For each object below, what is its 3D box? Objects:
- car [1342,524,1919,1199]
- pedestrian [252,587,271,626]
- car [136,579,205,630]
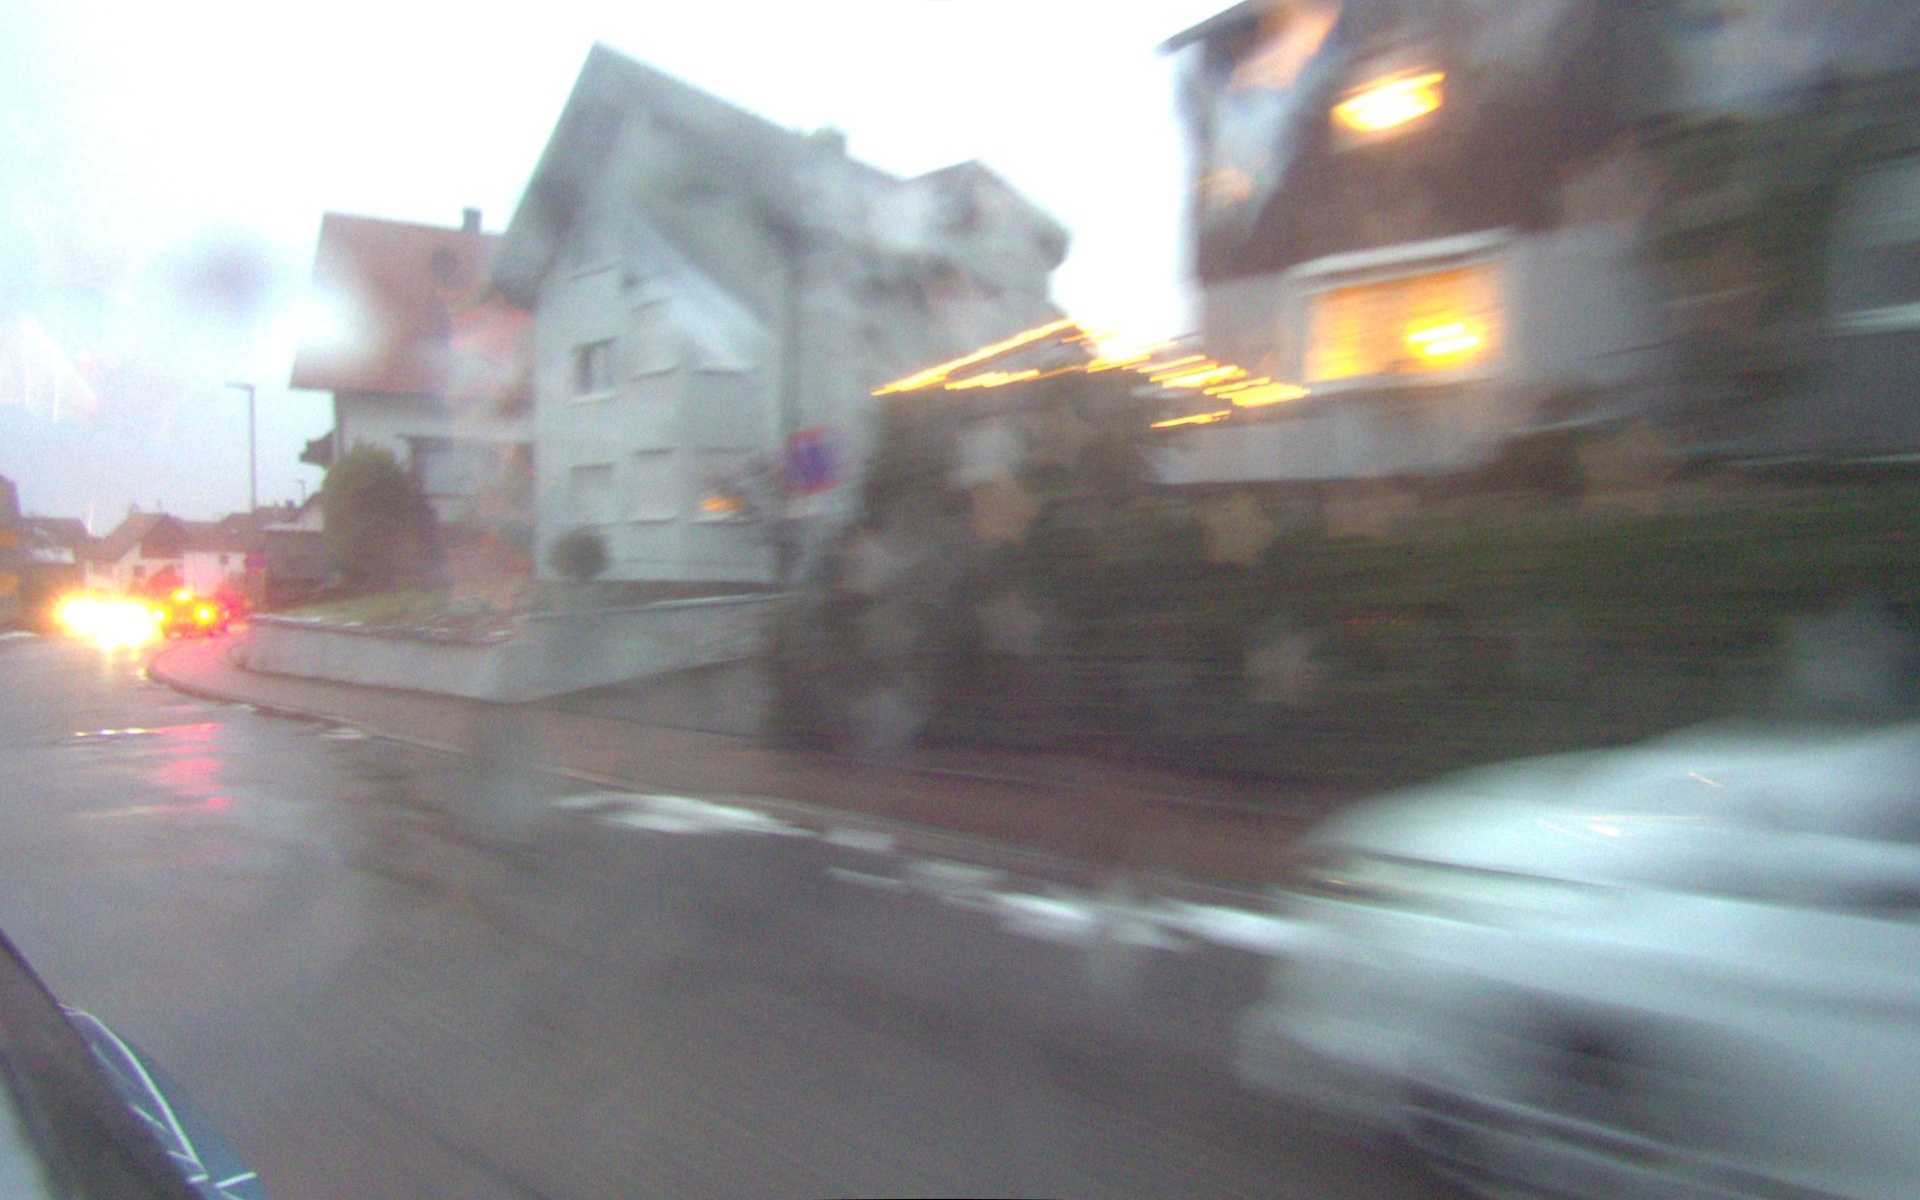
[{"bbox_3d":[2.861,0.588,1.970,3.654,1.449,1.602,0,0,41],"label":"car"},{"bbox_3d":[-32.703,0.289,47.407,0.589,1.745,0.815,-2,3,-28],"label":"pedestrian"},{"bbox_3d":[-34.092,0.171,43.800,2.082,2.042,4.995,0,0,-35],"label":"car"}]
